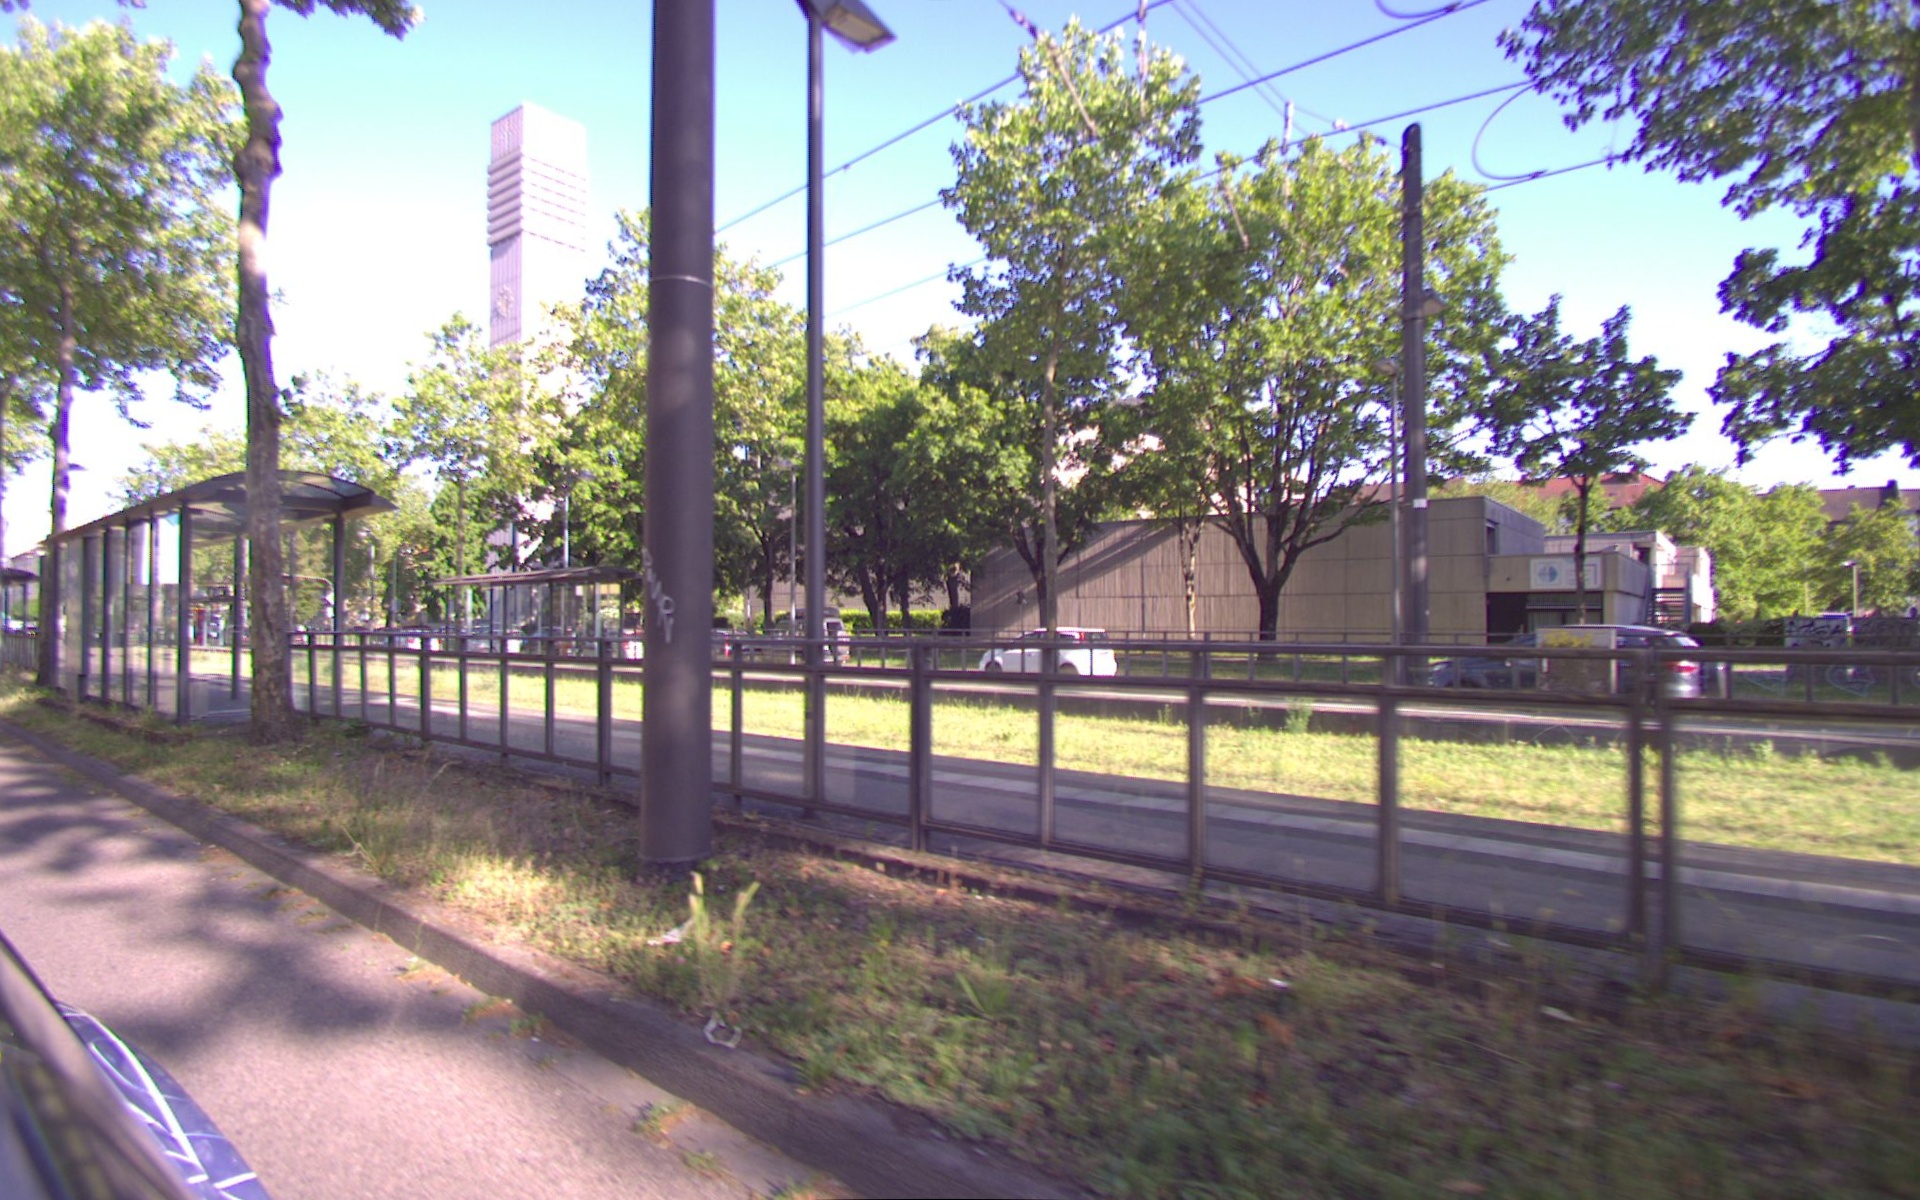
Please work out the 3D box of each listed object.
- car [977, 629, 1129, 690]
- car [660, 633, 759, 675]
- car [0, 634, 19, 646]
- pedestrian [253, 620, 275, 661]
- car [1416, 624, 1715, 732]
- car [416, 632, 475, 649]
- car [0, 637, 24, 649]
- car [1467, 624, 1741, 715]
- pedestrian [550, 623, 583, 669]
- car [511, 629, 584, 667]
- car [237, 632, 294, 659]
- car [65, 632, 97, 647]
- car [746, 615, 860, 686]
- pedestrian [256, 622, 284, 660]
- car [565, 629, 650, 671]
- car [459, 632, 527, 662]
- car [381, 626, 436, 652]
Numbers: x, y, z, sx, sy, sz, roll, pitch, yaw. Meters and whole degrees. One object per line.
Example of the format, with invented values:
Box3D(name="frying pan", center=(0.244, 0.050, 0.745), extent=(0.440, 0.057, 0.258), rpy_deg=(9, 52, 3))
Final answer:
Box3D(name="car", center=(2.478, 1.573, 27.639), extent=(3.934, 1.557, 1.695), rpy_deg=(-2, -3, 44))
Box3D(name="car", center=(-9.461, 1.999, 38.042), extent=(4.017, 1.500, 1.577), rpy_deg=(-2, -3, 40))
Box3D(name="car", center=(-143.230, 5.994, 152.049), extent=(5.400, 1.720, 2.117), rpy_deg=(-1, -2, 41))
Box3D(name="pedestrian", center=(-31.807, 1.848, 46.240), extent=(0.636, 1.881, 0.712), rpy_deg=(-2, -2, 42))
Box3D(name="car", center=(9.835, 1.203, 16.624), extent=(3.933, 1.557, 1.695), rpy_deg=(-2, -3, 43))
Box3D(name="car", center=(-47.500, 3.747, 93.545), extent=(1.999, 1.498, 4.467), rpy_deg=(-2, -2, 40))
Box3D(name="car", center=(-136.461, 6.193, 145.568), extent=(5.443, 1.720, 2.117), rpy_deg=(-1, -2, 41))
Box3D(name="car", center=(12.241, 1.266, 19.421), extent=(4.199, 1.557, 1.695), rpy_deg=(-2, -3, 42))
Box3D(name="pedestrian", center=(-11.120, 1.294, 28.620), extent=(0.825, 1.270, 0.802), rpy_deg=(-1, -1, -20))
Box3D(name="car", center=(-19.005, 2.186, 46.558), extent=(3.929, 1.645, 1.577), rpy_deg=(-2, -3, 42))
Box3D(name="car", center=(-37.694, 2.451, 54.893), extent=(3.533, 1.438, 1.589), rpy_deg=(-2, -2, 39))
Box3D(name="car", center=(-78.723, 3.548, 90.623), extent=(3.409, 1.335, 1.313), rpy_deg=(-1, -2, 35))
Box3D(name="car", center=(-5.388, 1.697, 34.462), extent=(3.930, 2.279, 1.696), rpy_deg=(-2, -3, 40))
Box3D(name="pedestrian", center=(-31.182, 1.831, 45.753), extent=(0.754, 1.702, 0.874), rpy_deg=(-2, -2, 42))
Box3D(name="car", center=(-14.693, 2.062, 42.084), extent=(3.927, 1.648, 1.577), rpy_deg=(-2, -3, 41))
Box3D(name="car", center=(-22.985, 2.289, 49.754), extent=(3.929, 1.455, 1.577), rpy_deg=(-2, -3, 42))
Box3D(name="car", center=(-27.666, 1.967, 50.723), extent=(3.373, 1.251, 1.250), rpy_deg=(-2, -3, 40))
